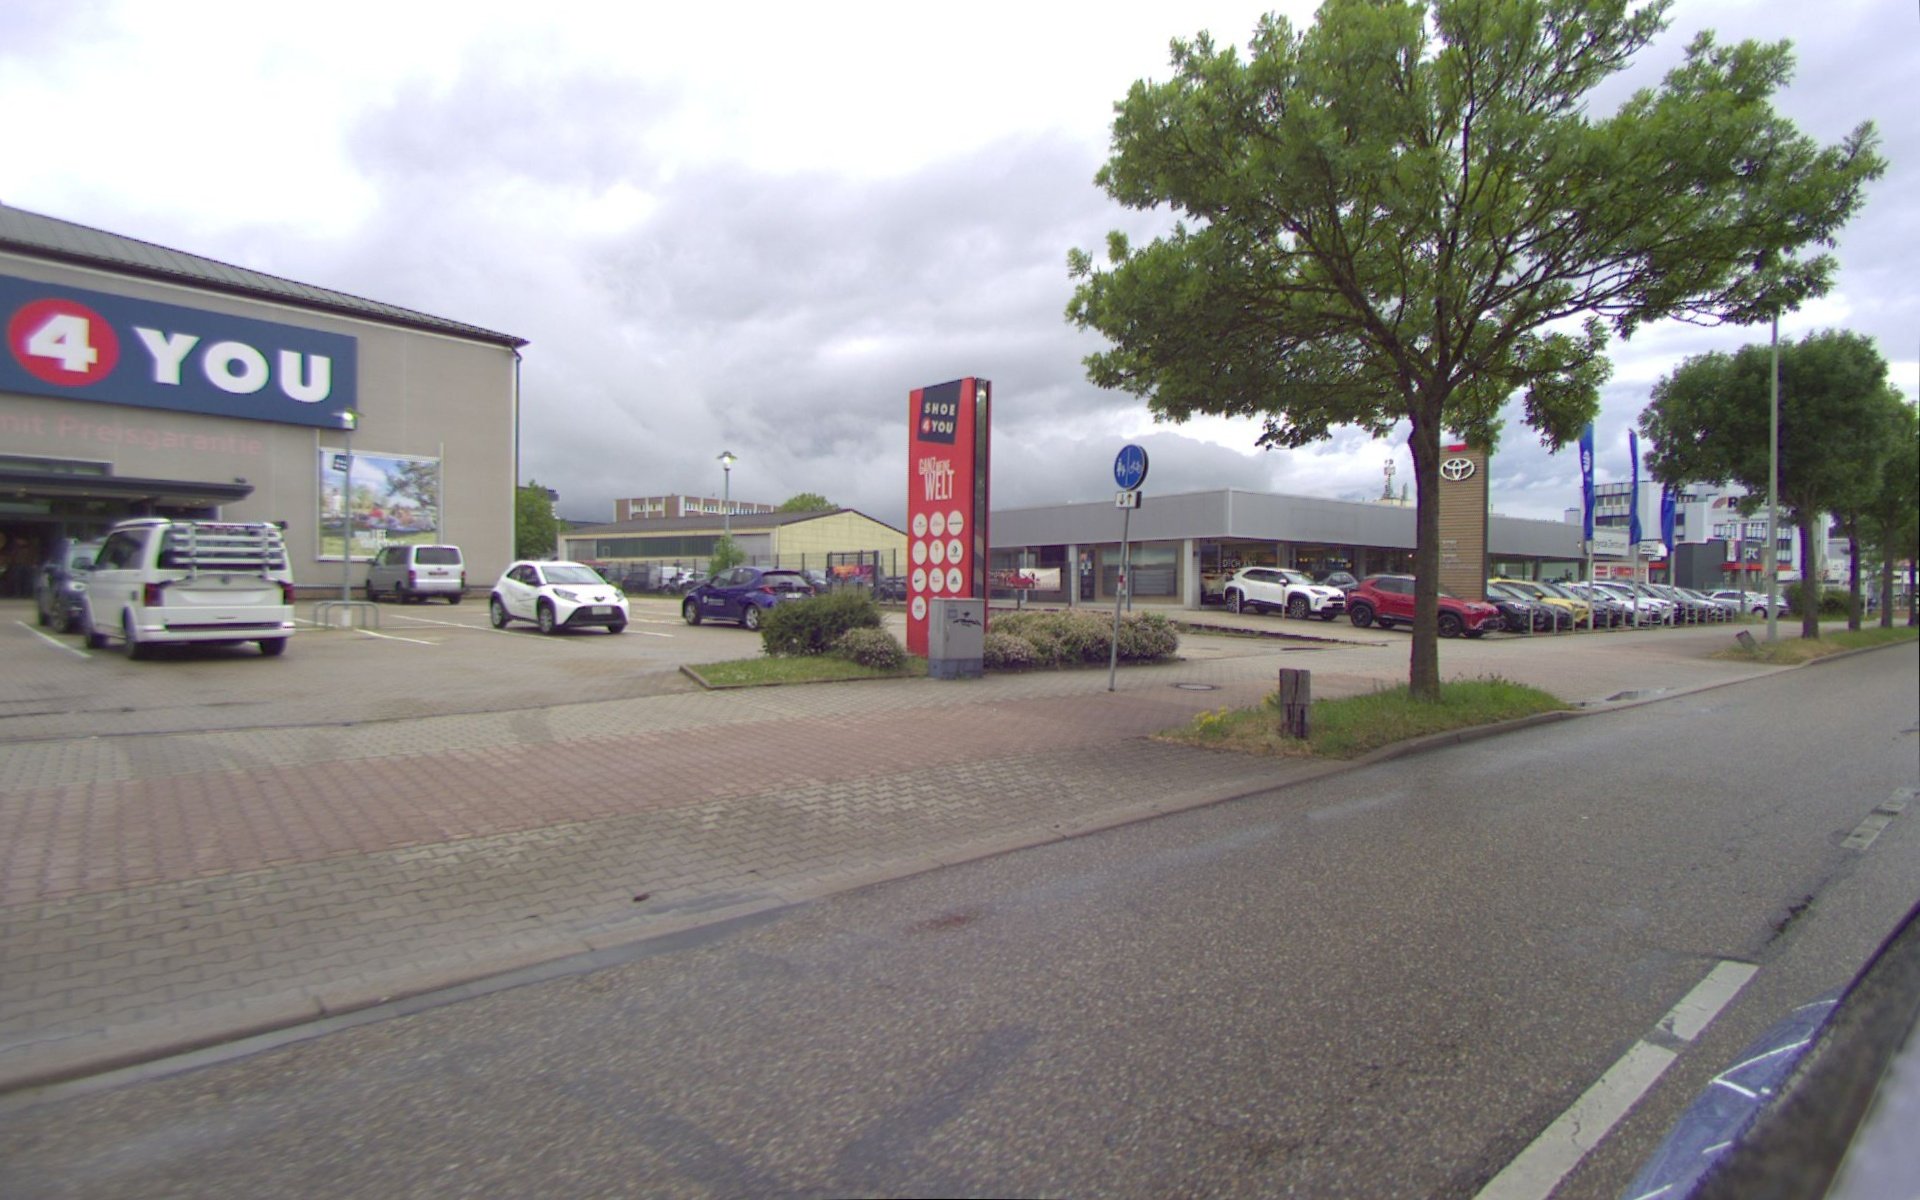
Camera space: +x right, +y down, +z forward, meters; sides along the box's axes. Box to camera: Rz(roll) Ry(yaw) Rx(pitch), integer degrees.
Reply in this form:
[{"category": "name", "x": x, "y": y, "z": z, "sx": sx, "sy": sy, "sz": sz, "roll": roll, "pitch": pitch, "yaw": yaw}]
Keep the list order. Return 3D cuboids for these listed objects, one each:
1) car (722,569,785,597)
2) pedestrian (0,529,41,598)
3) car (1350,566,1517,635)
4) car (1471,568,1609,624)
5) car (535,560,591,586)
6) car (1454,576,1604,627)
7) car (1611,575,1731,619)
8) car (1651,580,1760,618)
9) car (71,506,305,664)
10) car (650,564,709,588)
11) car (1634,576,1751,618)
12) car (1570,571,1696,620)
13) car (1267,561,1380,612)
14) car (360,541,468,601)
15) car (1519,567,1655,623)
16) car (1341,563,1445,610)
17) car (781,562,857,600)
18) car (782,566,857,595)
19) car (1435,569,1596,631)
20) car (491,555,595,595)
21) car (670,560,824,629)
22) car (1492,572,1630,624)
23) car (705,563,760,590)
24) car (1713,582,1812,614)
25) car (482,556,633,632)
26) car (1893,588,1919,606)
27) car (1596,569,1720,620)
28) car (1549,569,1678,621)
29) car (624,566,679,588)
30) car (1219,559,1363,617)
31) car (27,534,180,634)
[{"category": "car", "x": -11.181, "y": -0.911, "z": 54.791, "sx": 3.093, "sy": 1.473, "sz": 1.336, "roll": 0, "pitch": 0, "yaw": -40}, {"category": "pedestrian", "x": -26.488, "y": -1.016, "z": 28.368, "sx": 0.912, "sy": 1.908, "sz": 0.772, "roll": 1, "pitch": 1, "yaw": -30}, {"category": "car", "x": 13.318, "y": -0.025, "z": 28.630, "sx": 1.763, "sy": 1.623, "sz": 3.853, "roll": 0, "pitch": 4, "yaw": -39}, {"category": "car", "x": 20.552, "y": -0.180, "z": 35.972, "sx": 1.638, "sy": 1.584, "sz": 3.848, "roll": 0, "pitch": 5, "yaw": -41}, {"category": "car", "x": -28.884, "y": -1.987, "z": 73.676, "sx": 1.605, "sy": 1.821, "sz": 3.659, "roll": 2, "pitch": 2, "yaw": 27}, {"category": "car", "x": 19.044, "y": 0.012, "z": 34.000, "sx": 1.768, "sy": 1.557, "sz": 3.997, "roll": 0, "pitch": 2, "yaw": -39}, {"category": "car", "x": 32.297, "y": -0.176, "z": 46.079, "sx": 1.778, "sy": 1.603, "sz": 4.002, "roll": 0, "pitch": 6, "yaw": -37}, {"category": "car", "x": 36.046, "y": -0.069, "z": 48.986, "sx": 1.795, "sy": 1.478, "sz": 3.845, "roll": 0, "pitch": 5, "yaw": -39}, {"category": "car", "x": -11.897, "y": -0.289, "z": 15.465, "sx": 4.818, "sy": 2.038, "sz": 1.961, "roll": 2, "pitch": 2, "yaw": 41}, {"category": "car", "x": -17.403, "y": -1.481, "z": 62.885, "sx": 3.277, "sy": 1.388, "sz": 1.336, "roll": 0, "pitch": 0, "yaw": -40}, {"category": "car", "x": 34.290, "y": -0.165, "z": 47.442, "sx": 1.778, "sy": 1.561, "sz": 4.002, "roll": 0, "pitch": 6, "yaw": -37}, {"category": "car", "x": 28.563, "y": -0.221, "z": 43.035, "sx": 1.780, "sy": 1.606, "sz": 3.999, "roll": 1, "pitch": 6, "yaw": -40}, {"category": "car", "x": 12.902, "y": -0.480, "z": 35.822, "sx": 4.048, "sy": 1.641, "sz": 1.880, "roll": 0, "pitch": 3, "yaw": -39}, {"category": "car", "x": -18.444, "y": -0.974, "z": 34.112, "sx": 4.243, "sy": 1.884, "sz": 1.906, "roll": 2, "pitch": 1, "yaw": 43}, {"category": "car", "x": 24.218, "y": -0.236, "z": 39.208, "sx": 1.778, "sy": 1.807, "sz": 4.001, "roll": 0, "pitch": 4, "yaw": -37}, {"category": "car", "x": 16.383, "y": -0.502, "z": 38.242, "sx": 4.048, "sy": 1.641, "sz": 1.880, "roll": 0, "pitch": 3, "yaw": -39}, {"category": "car", "x": -6.586, "y": -0.886, "z": 47.018, "sx": 1.756, "sy": 1.664, "sz": 3.658, "roll": 1, "pitch": 0, "yaw": -41}, {"category": "car", "x": -6.945, "y": -0.936, "z": 50.112, "sx": 3.429, "sy": 1.382, "sz": 1.464, "roll": 0, "pitch": 0, "yaw": -40}, {"category": "car", "x": 17.425, "y": -0.057, "z": 31.898, "sx": 1.811, "sy": 1.667, "sz": 4.001, "roll": 1, "pitch": 3, "yaw": -37}, {"category": "car", "x": -18.462, "y": -1.090, "z": 44.931, "sx": 1.669, "sy": 1.687, "sz": 3.936, "roll": 2, "pitch": 2, "yaw": 44}, {"category": "car", "x": -5.260, "y": -0.188, "z": 24.737, "sx": 3.987, "sy": 1.533, "sz": 1.732, "roll": 2, "pitch": 2, "yaw": 43}, {"category": "car", "x": 22.333, "y": -0.113, "z": 37.743, "sx": 1.679, "sy": 1.565, "sz": 4.001, "roll": 0, "pitch": 5, "yaw": -37}, {"category": "car", "x": -17.947, "y": -1.844, "z": 79.796, "sx": 4.062, "sy": 2.038, "sz": 1.774, "roll": 2, "pitch": 2, "yaw": 29}, {"category": "car", "x": 46.768, "y": -0.132, "z": 59.098, "sx": 1.943, "sy": 1.616, "sz": 4.079, "roll": 1, "pitch": 3, "yaw": -18}, {"category": "car", "x": -8.892, "y": -0.172, "z": 22.238, "sx": 3.637, "sy": 1.533, "sz": 1.651, "roll": 2, "pitch": 1, "yaw": 42}, {"category": "car", "x": 109.550, "y": -0.280, "z": 114.976, "sx": 1.958, "sy": 2.038, "sz": 4.798, "roll": 1, "pitch": 1, "yaw": -22}, {"category": "car", "x": 30.445, "y": -0.277, "z": 44.241, "sx": 1.778, "sy": 1.807, "sz": 4.003, "roll": 0, "pitch": 6, "yaw": -37}, {"category": "car", "x": 26.709, "y": -0.231, "z": 41.462, "sx": 1.778, "sy": 1.808, "sz": 4.001, "roll": 1, "pitch": 4, "yaw": -37}, {"category": "car", "x": -20.724, "y": -1.528, "z": 68.020, "sx": 3.277, "sy": 1.356, "sz": 1.336, "roll": 0, "pitch": 0, "yaw": -40}, {"category": "car", "x": 10.643, "y": -0.426, "z": 32.776, "sx": 1.845, "sy": 1.641, "sz": 4.124, "roll": 1, "pitch": 3, "yaw": -35}, {"category": "car", "x": -16.701, "y": -0.345, "z": 19.667, "sx": 4.242, "sy": 1.751, "sz": 1.716, "roll": 2, "pitch": 1, "yaw": 42}]
